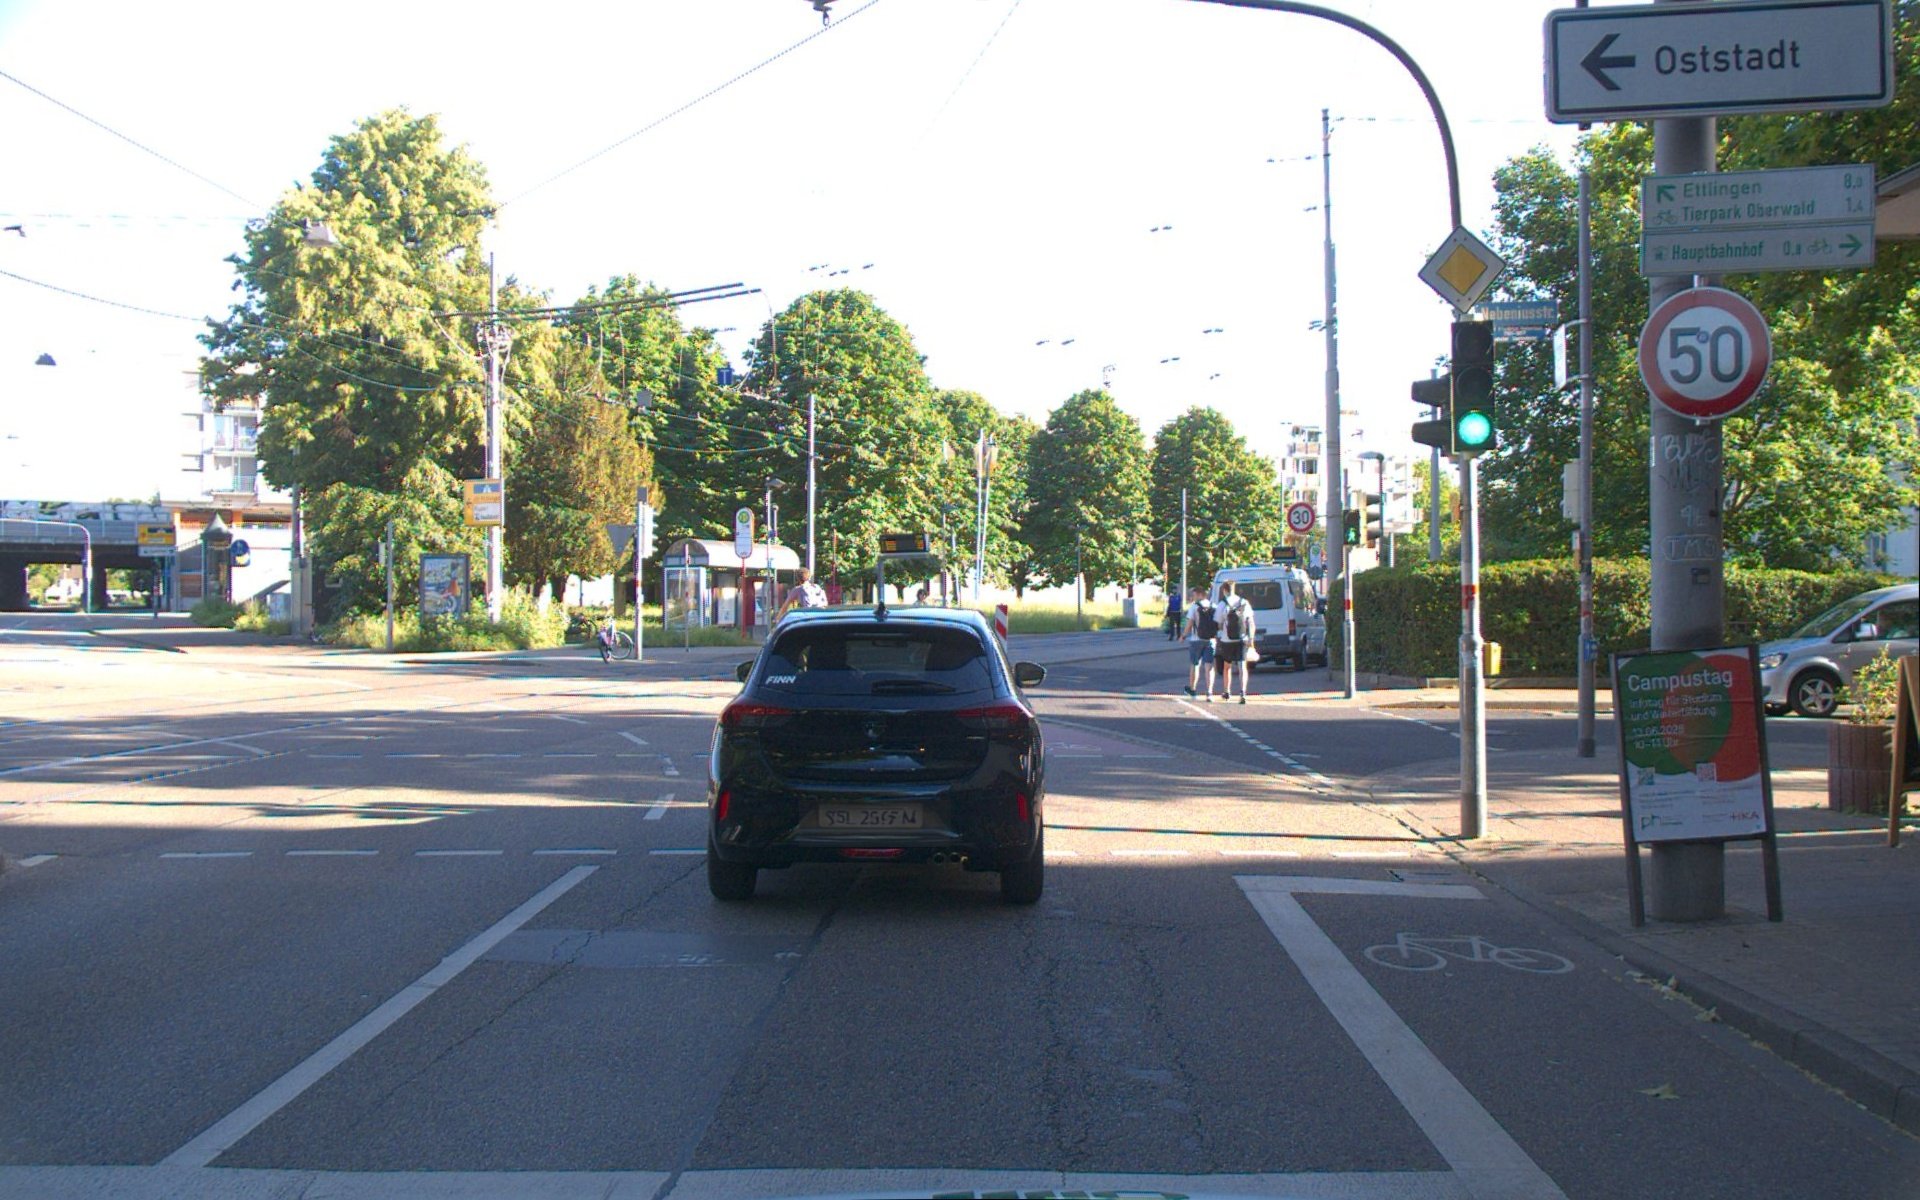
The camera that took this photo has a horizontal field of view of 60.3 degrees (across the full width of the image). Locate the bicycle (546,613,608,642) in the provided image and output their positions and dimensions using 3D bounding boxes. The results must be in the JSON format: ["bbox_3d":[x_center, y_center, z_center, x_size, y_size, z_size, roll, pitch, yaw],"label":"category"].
[{"bbox_3d":[-12.514,0.903,54.060,1.837,0.922,0.660,0,0,4],"label":"bicycle"}]

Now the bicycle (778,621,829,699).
[{"bbox_3d":[-2.312,0.868,24.608,0.654,1.078,2.081,0,0,-3],"label":"bicycle"}]

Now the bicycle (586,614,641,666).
[{"bbox_3d":[-7.558,0.856,36.105,0.808,1.078,1.883,0,0,0],"label":"bicycle"}]

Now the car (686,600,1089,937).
[{"bbox_3d":[-0.357,0.736,9.233,1.764,1.466,3.939,0,0,-1],"label":"car"}]

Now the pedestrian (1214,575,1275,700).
[{"bbox_3d":[4.355,0.561,25.294,0.691,1.879,0.698,0,0,37],"label":"pedestrian"}]

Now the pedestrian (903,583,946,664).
[{"bbox_3d":[-0.762,0.491,35.544,0.690,1.722,0.722,0,0,-25],"label":"pedestrian"}]

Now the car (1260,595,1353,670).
[{"bbox_3d":[8.726,0.770,41.449,1.763,1.794,3.892,0,0,20],"label":"car"}]

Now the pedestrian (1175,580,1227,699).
[{"bbox_3d":[3.754,0.607,25.803,0.684,1.823,0.617,0,0,-3],"label":"pedestrian"}]

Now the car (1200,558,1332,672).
[{"bbox_3d":[6.766,0.343,36.231,2.046,2.317,4.306,1,-1,21],"label":"car"}]

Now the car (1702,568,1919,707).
[{"bbox_3d":[12.685,0.541,22.810,4.087,1.846,1.807,0,-3,6],"label":"car"}]

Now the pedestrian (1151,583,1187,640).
[{"bbox_3d":[6.829,0.367,53.902,0.939,1.824,0.995,0,0,23],"label":"pedestrian"}]

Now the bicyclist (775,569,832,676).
[{"bbox_3d":[-2.310,0.321,24.595,0.824,1.536,1.367,0,0,-5],"label":"bicyclist"}]

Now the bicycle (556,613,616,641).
[{"bbox_3d":[-12.410,0.905,54.936,1.837,0.922,0.660,0,0,4],"label":"bicycle"}]

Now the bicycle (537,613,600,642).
[{"bbox_3d":[-12.561,0.887,53.072,1.837,0.922,0.660,0,0,4],"label":"bicycle"}]

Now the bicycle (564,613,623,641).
[{"bbox_3d":[-12.388,0.898,55.910,1.837,0.922,0.660,0,0,4],"label":"bicycle"}]
